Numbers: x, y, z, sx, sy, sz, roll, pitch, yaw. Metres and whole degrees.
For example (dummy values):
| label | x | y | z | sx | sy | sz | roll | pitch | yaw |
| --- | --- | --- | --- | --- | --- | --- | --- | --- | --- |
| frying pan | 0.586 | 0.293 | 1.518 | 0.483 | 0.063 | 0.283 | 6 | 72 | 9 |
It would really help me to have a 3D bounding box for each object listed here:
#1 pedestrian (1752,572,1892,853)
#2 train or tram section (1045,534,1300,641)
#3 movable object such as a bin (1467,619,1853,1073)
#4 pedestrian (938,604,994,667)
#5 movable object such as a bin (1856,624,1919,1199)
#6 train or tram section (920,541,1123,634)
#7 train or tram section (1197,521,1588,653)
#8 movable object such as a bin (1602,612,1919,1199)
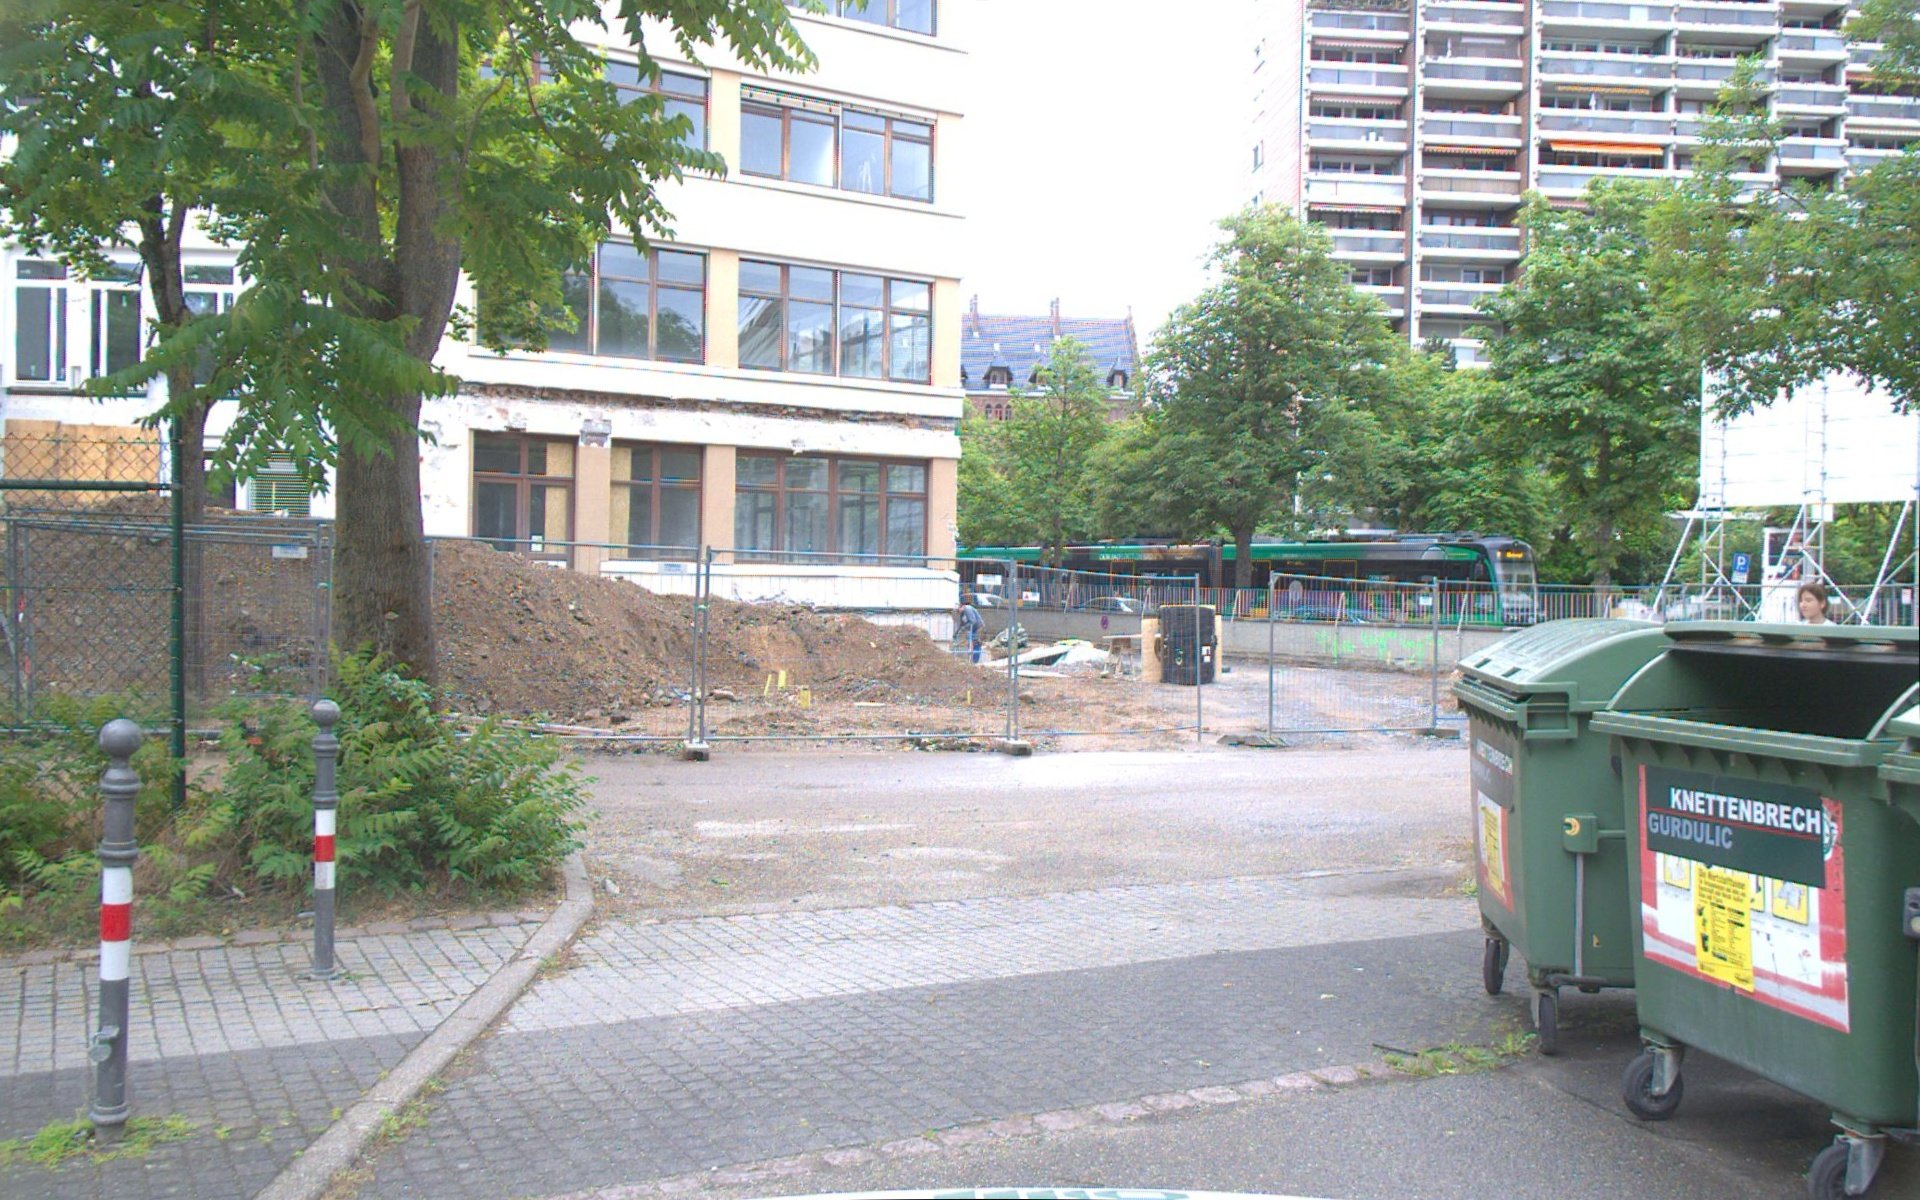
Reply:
| label | x | y | z | sx | sy | sz | roll | pitch | yaw |
| --- | --- | --- | --- | --- | --- | --- | --- | --- | --- |
| pedestrian | 5.832 | 0.725 | 11.183 | 0.736 | 1.812 | 0.660 | 1 | 0 | 36 |
| train or tram section | 7.681 | -0.466 | 62.584 | 2.632 | 3.677 | 12.330 | 1 | 0 | -30 |
| movable object such as a bin | 2.519 | 0.815 | 6.151 | 1.045 | 1.459 | 1.276 | 1 | 0 | 10 |
| pedestrian | 0.150 | 0.833 | 39.136 | 0.971 | 1.463 | 0.919 | 1 | -1 | -35 |
| movable object such as a bin | 2.708 | 0.809 | 3.265 | 1.085 | 1.475 | 1.292 | 1 | 0 | -9 |
| train or tram section | 2.383 | -0.546 | 71.647 | 2.632 | 3.677 | 12.330 | 1 | 0 | -30 |
| train or tram section | 13.208 | -0.411 | 53.076 | 2.632 | 3.677 | 14.620 | 1 | 0 | -30 |
| movable object such as a bin | 2.667 | 0.791 | 4.670 | 1.085 | 1.475 | 1.284 | 1 | 0 | -9 |
